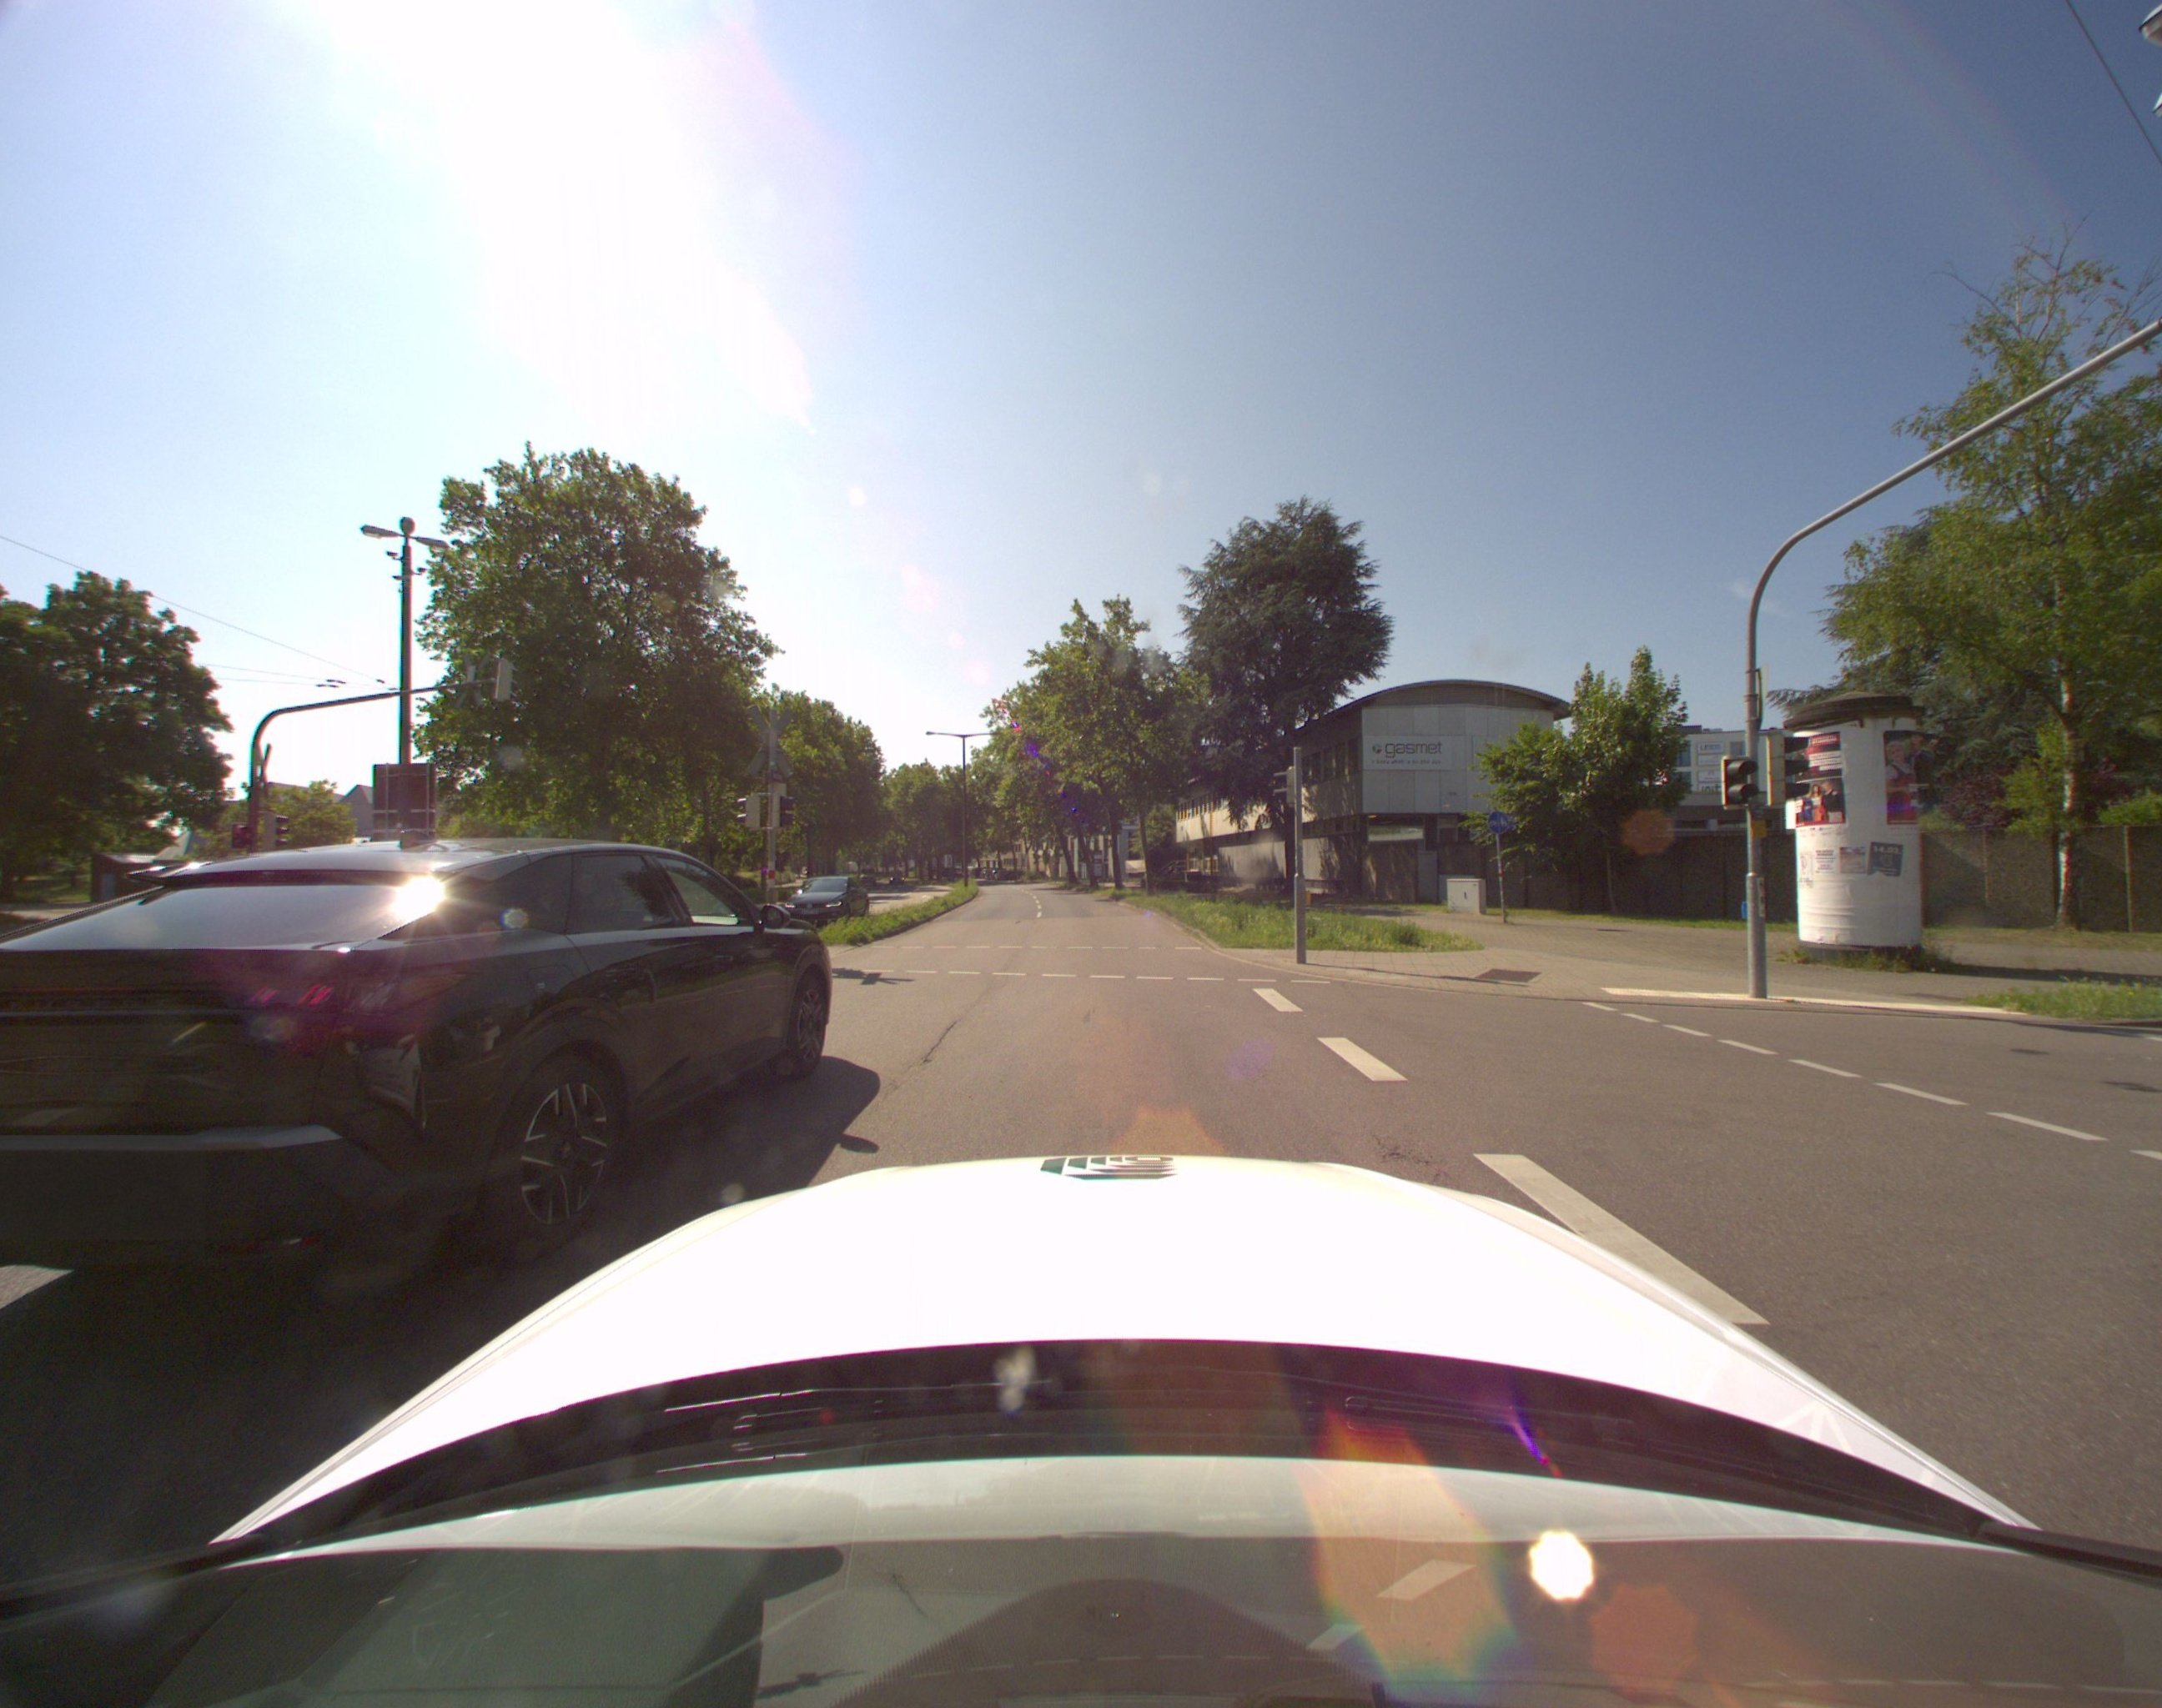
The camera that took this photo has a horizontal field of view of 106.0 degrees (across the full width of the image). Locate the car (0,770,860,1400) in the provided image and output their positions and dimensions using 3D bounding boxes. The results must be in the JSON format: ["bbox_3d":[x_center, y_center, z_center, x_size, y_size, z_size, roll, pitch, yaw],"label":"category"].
[{"bbox_3d":[-2.822,0.704,4.482,1.865,1.696,4.436,-2,-1,1],"label":"car"}]

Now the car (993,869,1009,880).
[{"bbox_3d":[-11.863,2.987,119.974,1.710,1.488,4.080,-1,0,-15],"label":"car"}]

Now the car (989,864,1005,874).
[{"bbox_3d":[-12.992,2.340,125.359,1.709,1.455,4.632,-1,0,-15],"label":"car"}]

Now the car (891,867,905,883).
[{"bbox_3d":[-23.273,2.625,103.681,1.687,1.839,4.972,-2,0,-13],"label":"car"}]

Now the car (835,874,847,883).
[{"bbox_3d":[-46.069,4.649,156.241,1.796,1.556,4.376,-1,-1,-13],"label":"car"}]

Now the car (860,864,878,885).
[{"bbox_3d":[-27.770,2.608,106.697,2.063,2.613,7.184,-2,-1,-13],"label":"car"}]

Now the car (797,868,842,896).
[{"bbox_3d":[-16.727,1.756,52.253,1.705,1.589,4.426,-2,0,-4],"label":"car"}]

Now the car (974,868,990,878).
[{"bbox_3d":[-16.665,3.153,137.064,1.712,1.669,4.503,-1,0,-20],"label":"car"}]

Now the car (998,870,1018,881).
[{"bbox_3d":[-10.332,3.004,114.913,1.712,1.487,4.689,-2,0,-19],"label":"car"}]

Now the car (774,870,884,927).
[{"bbox_3d":[-7.443,1.264,24.513,1.686,1.508,4.135,-1,0,5],"label":"car"}]
